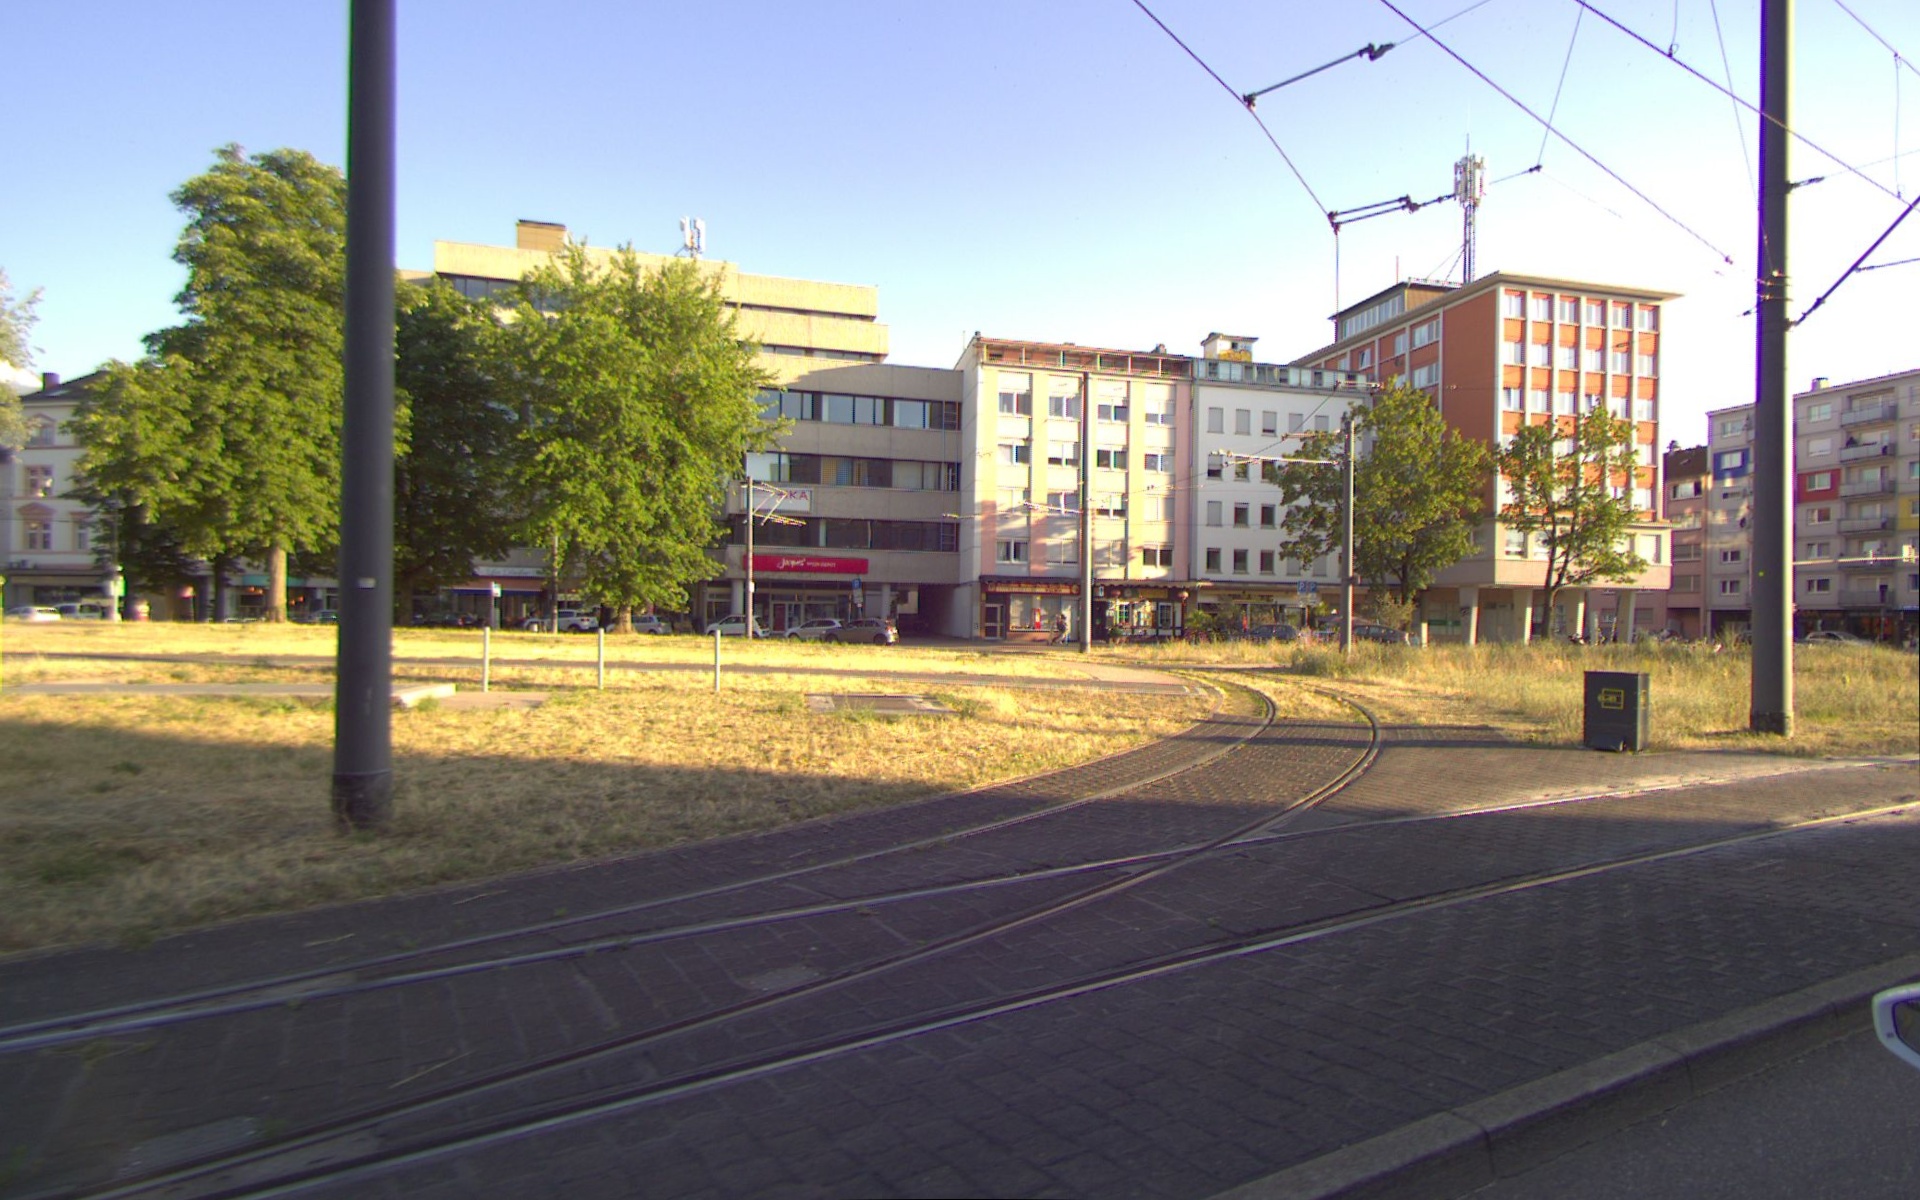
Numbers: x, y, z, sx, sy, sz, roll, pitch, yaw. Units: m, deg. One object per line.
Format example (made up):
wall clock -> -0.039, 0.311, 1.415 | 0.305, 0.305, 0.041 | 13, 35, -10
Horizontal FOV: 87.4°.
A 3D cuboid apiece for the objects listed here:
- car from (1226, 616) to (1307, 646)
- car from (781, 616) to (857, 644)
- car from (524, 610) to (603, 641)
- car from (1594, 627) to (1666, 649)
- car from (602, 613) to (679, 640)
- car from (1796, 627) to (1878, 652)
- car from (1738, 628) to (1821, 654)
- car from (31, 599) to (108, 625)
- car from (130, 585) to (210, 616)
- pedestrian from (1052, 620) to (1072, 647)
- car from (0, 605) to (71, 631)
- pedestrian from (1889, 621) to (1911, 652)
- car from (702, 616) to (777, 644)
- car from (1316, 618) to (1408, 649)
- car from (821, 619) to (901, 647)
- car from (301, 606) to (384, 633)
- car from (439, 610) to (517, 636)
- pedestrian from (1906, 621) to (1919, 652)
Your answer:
car -> 16.323, 1.665, 53.636 | 3.919, 1.547, 1.761 | -1, -1, 9
car -> -8.044, 1.699, 57.256 | 3.919, 1.572, 1.761 | -1, -1, 12
car -> -23.874, 1.550, 60.570 | 4.123, 1.818, 1.761 | -1, -1, 9
car -> 51.272, 2.875, 76.947 | 1.958, 1.606, 4.276 | 0, -1, -19
car -> -18.835, 1.545, 59.254 | 3.919, 1.572, 1.761 | -1, -1, 9
car -> 59.629, 2.678, 68.356 | 1.775, 1.606, 3.861 | 0, -1, -19
car -> 54.056, 2.691, 66.326 | 1.775, 1.606, 3.861 | 0, -1, -19
car -> -59.256, 0.814, 66.879 | 3.919, 1.686, 1.761 | -1, -1, 9
car -> -51.510, 0.063, 65.534 | 4.123, 1.970, 1.761 | -1, -1, 9
pedestrian -> 6.019, 1.967, 59.192 | 0.839, 1.548, 1.118 | 0, -1, -16
car -> -58.797, 1.170, 63.629 | 3.919, 1.601, 1.798 | -1, -1, 12
pedestrian -> 57.974, 2.260, 61.962 | 0.724, 1.876, 0.705 | 0, -1, -14
car -> -12.808, 1.756, 58.405 | 3.919, 1.572, 1.761 | -1, -1, 9
car -> 21.065, 1.750, 52.794 | 4.205, 1.547, 1.761 | -1, -1, 9
car -> -5.271, 1.758, 53.603 | 3.919, 1.408, 1.712 | -1, -1, 10
car -> -36.961, 1.163, 60.161 | 3.986, 1.577, 1.867 | -1, -1, 9
car -> -29.849, 1.428, 62.254 | 3.986, 1.577, 1.867 | -1, -1, 9
pedestrian -> 58.147, 2.229, 61.064 | 0.808, 1.872, 0.603 | 0, 0, -14
